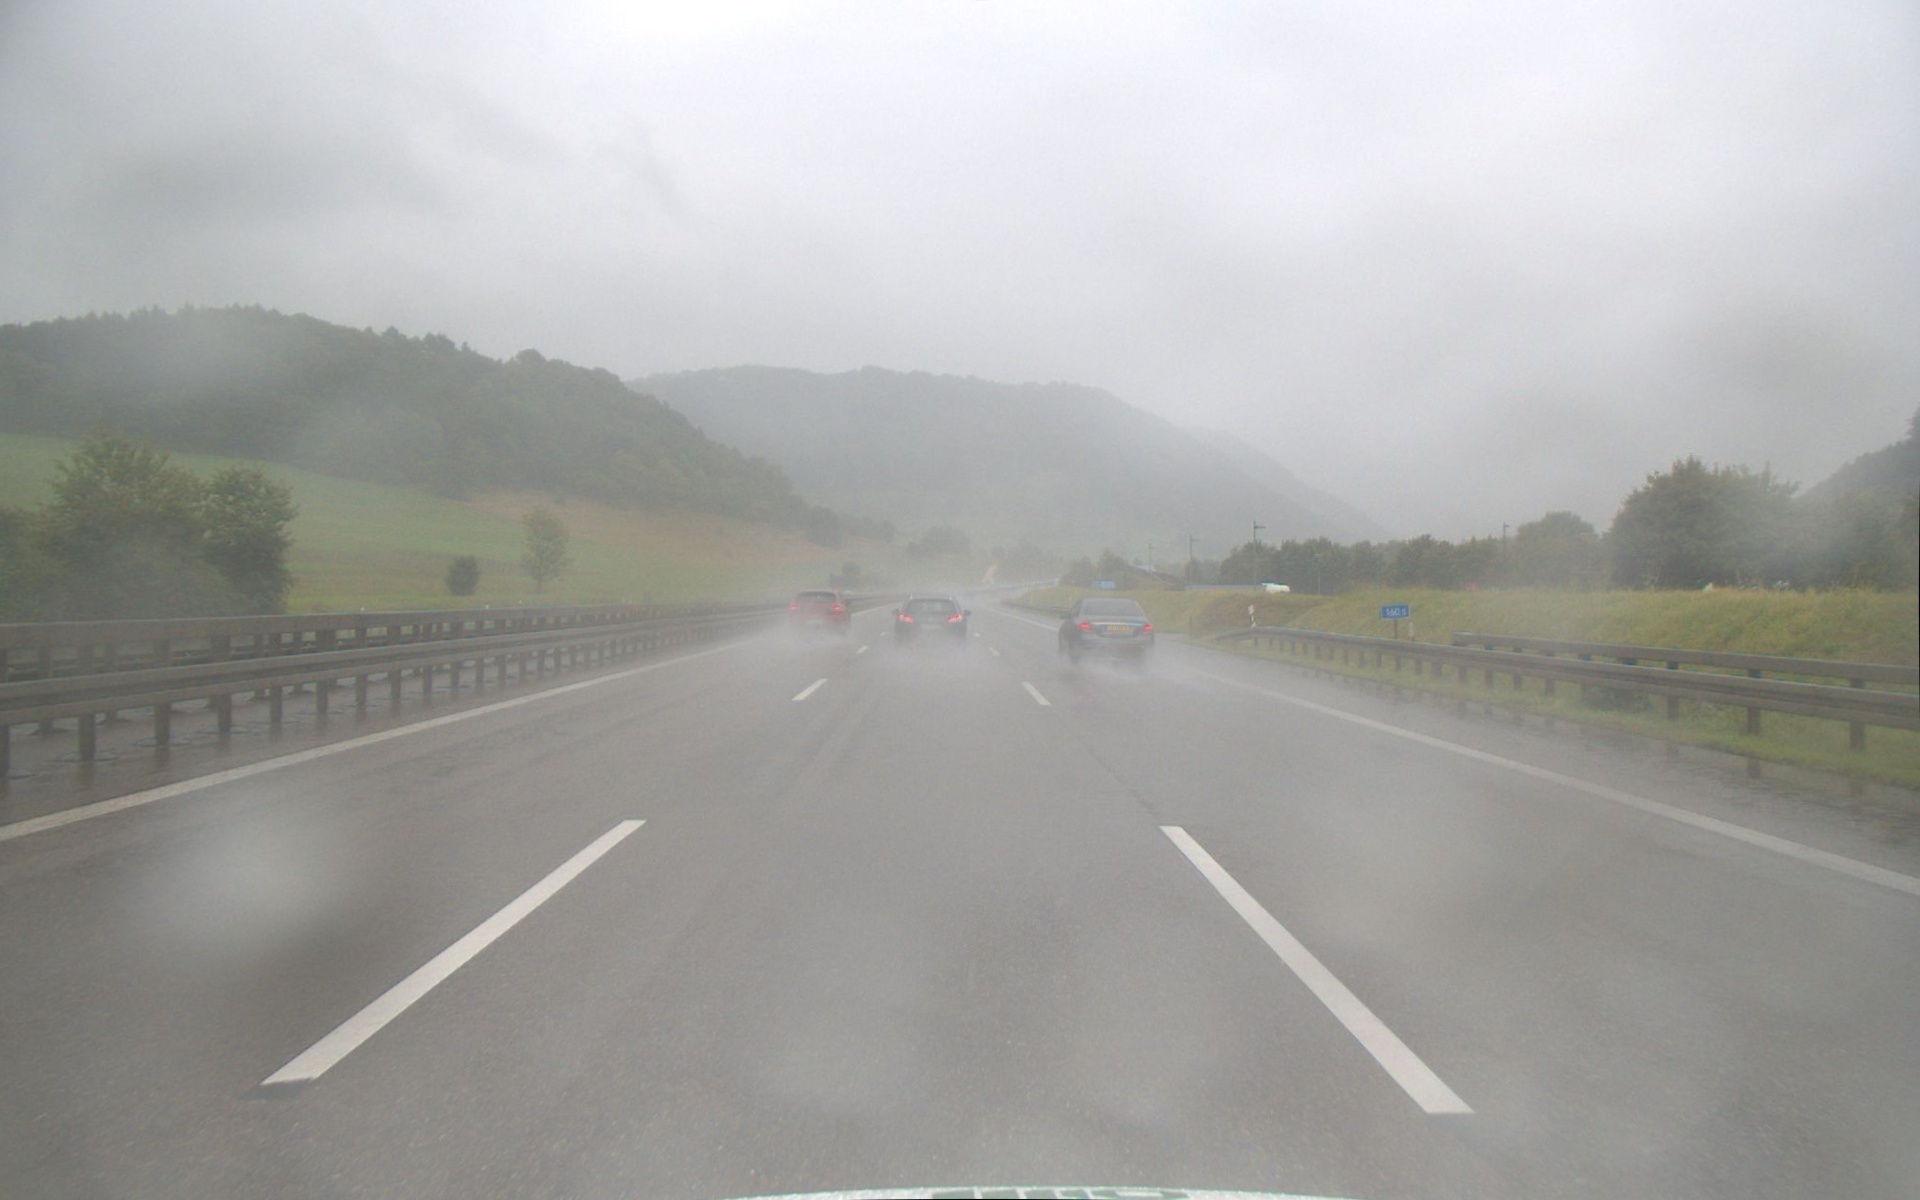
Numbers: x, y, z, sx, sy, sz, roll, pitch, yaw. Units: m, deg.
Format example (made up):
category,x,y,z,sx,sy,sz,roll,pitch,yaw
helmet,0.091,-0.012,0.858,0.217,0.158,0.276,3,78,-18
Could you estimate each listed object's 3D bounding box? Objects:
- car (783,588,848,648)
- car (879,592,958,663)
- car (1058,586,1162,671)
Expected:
category,x,y,z,sx,sy,sz,roll,pitch,yaw
car,-4.654,0.545,53.714,1.846,1.847,3.999,0,0,-1
car,-0.978,0.649,40.891,1.821,1.617,4.000,1,0,0
car,3.273,0.598,36.719,1.931,1.791,4.000,0,0,0
